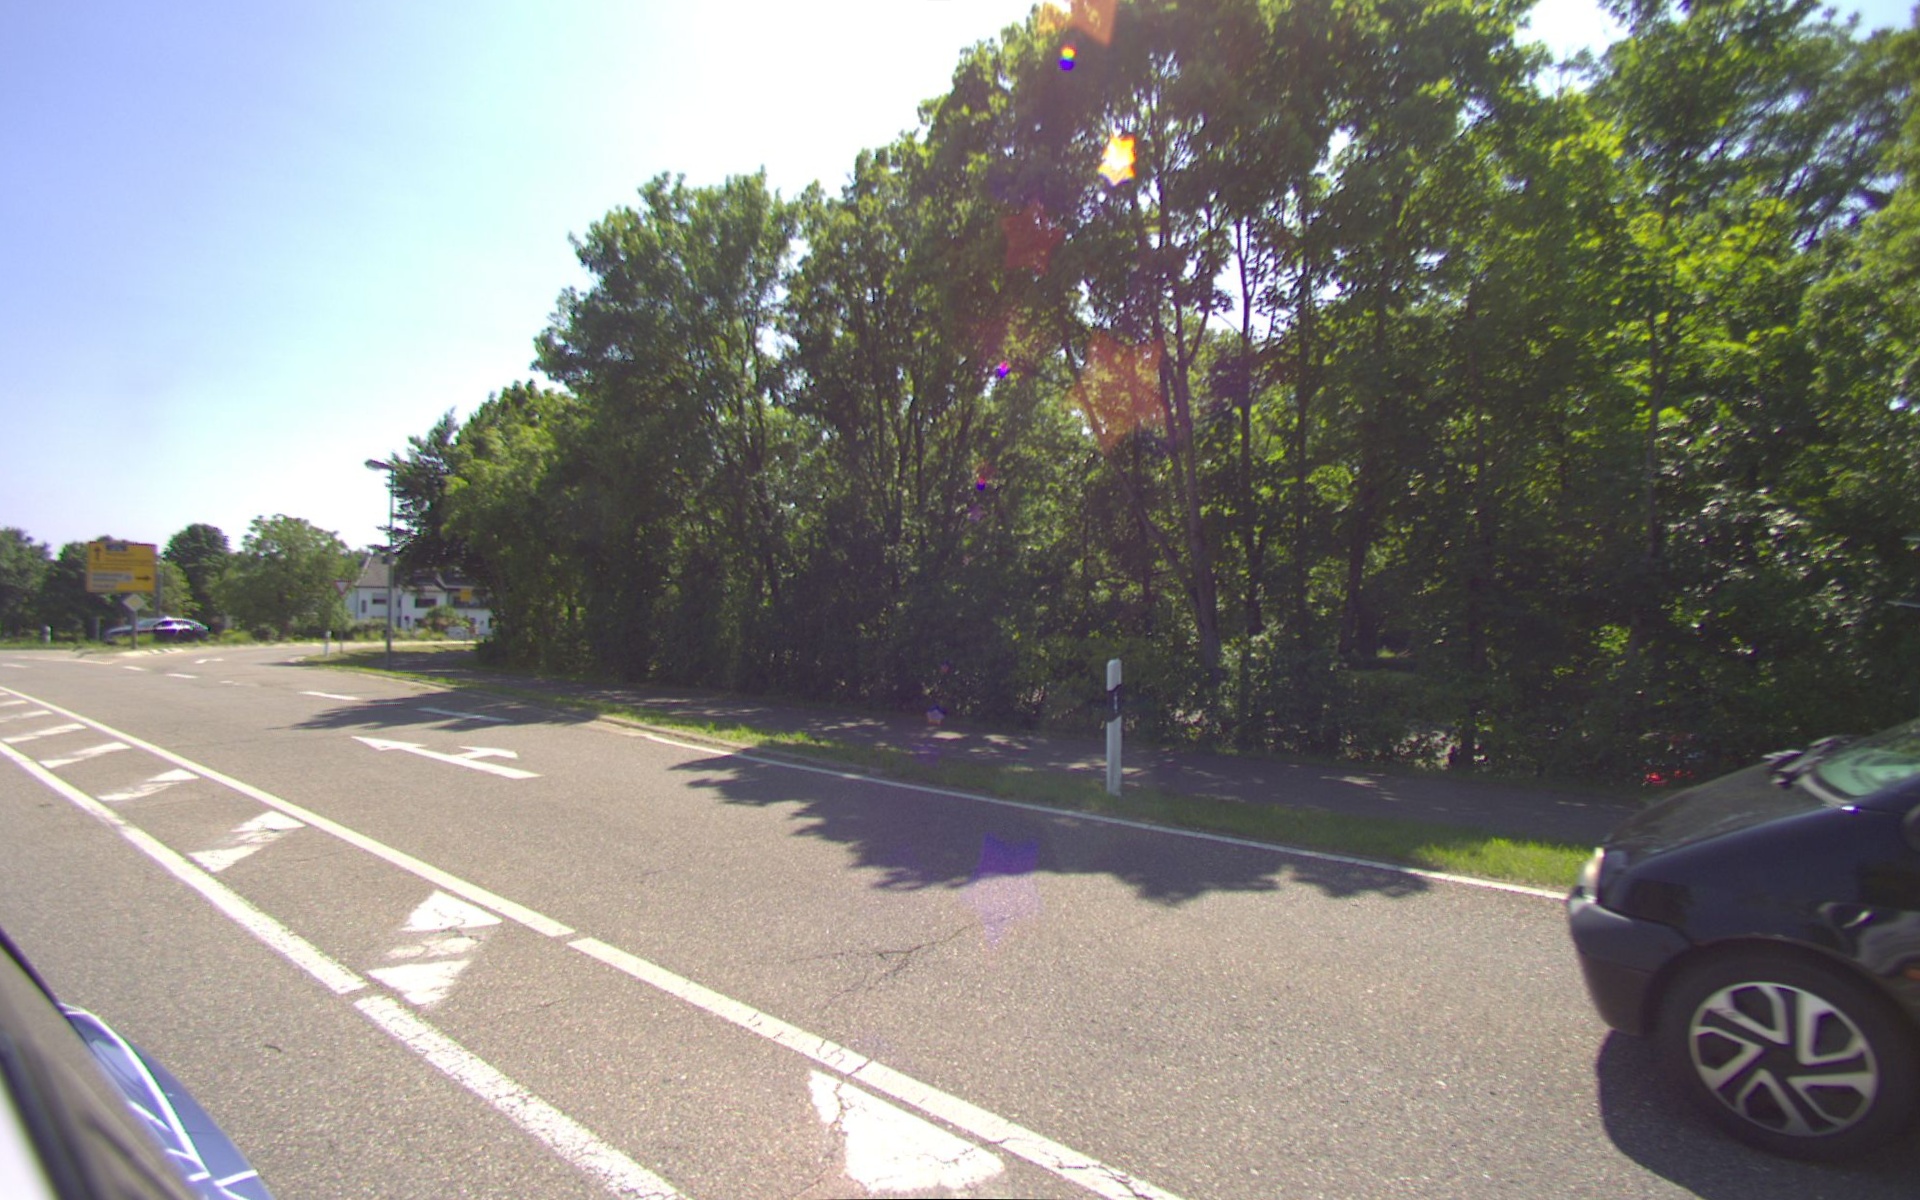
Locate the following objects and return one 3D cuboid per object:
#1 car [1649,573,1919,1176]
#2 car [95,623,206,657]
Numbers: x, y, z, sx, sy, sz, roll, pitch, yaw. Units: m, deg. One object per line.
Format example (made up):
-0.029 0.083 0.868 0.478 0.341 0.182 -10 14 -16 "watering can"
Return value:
3.671 0.636 2.190 3.432 1.415 1.609 -1 0 42 "car"
-42.796 2.082 53.596 1.736 1.658 4.347 -2 -2 20 "car"
